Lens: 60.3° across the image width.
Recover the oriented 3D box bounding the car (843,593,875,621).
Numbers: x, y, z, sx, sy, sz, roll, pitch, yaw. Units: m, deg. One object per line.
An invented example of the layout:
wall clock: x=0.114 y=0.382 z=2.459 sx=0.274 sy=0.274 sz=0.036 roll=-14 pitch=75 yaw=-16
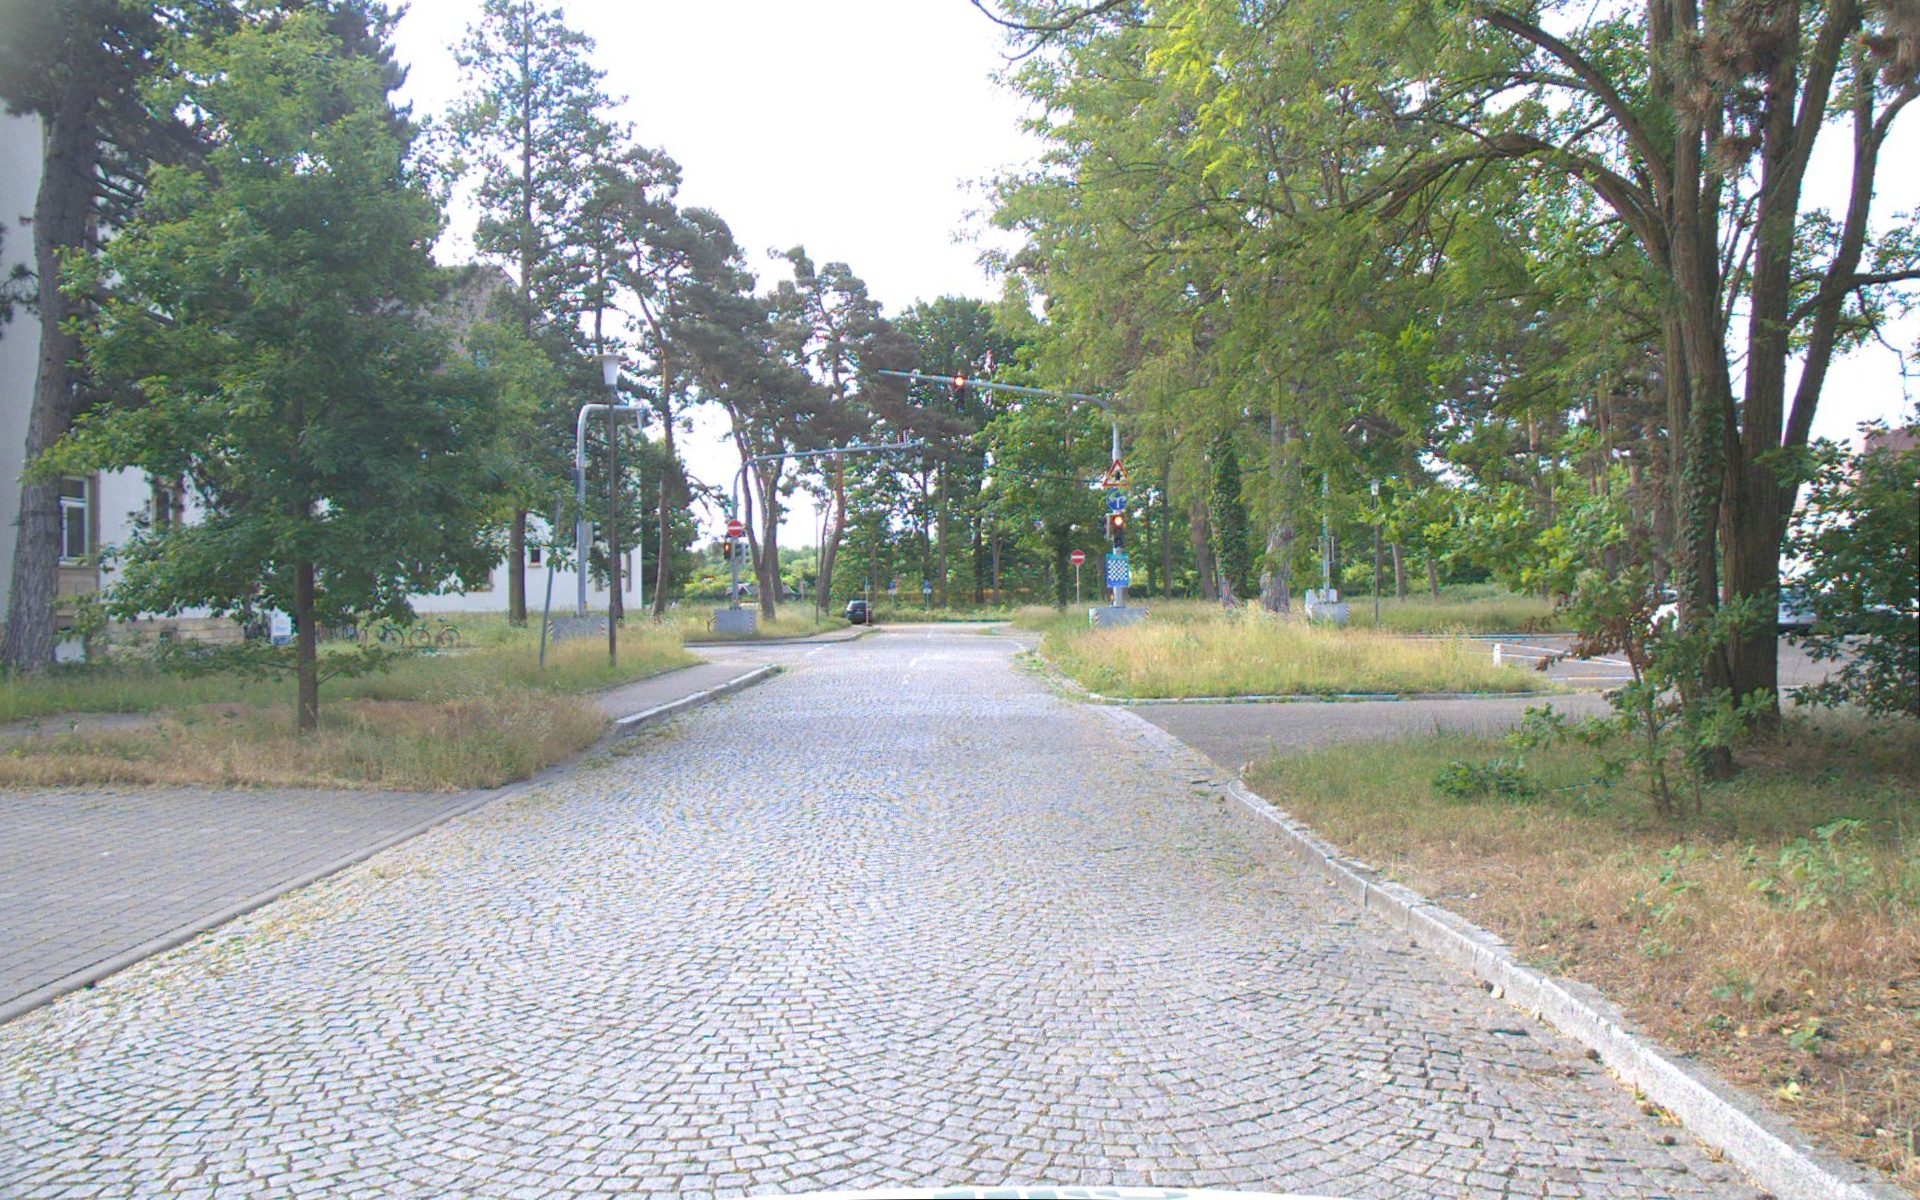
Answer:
car: x=-6.765 y=0.458 z=111.118 sx=2.014 sy=1.878 sz=3.999 roll=-1 pitch=0 yaw=-2

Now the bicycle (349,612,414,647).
bicycle: x=-18.735 y=0.953 z=53.557 sx=1.818 sy=1.095 sz=0.738 roll=-1 pitch=0 yaw=1

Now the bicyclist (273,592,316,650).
bicyclist: x=-20.357 y=0.643 z=50.615 sx=0.901 sy=1.727 sz=0.957 roll=-1 pitch=-1 yaw=2

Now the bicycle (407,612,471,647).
bicycle: x=-16.884 y=0.942 z=53.625 sx=1.818 sy=1.095 sz=0.831 roll=-1 pitch=0 yaw=1

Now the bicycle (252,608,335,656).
bicycle: x=-20.387 y=0.961 z=50.615 sx=2.133 sy=1.411 sz=0.939 roll=-1 pitch=0 yaw=2

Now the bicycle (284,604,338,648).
bicycle: x=-21.574 y=0.851 z=55.038 sx=0.721 sy=1.410 sz=2.711 roll=-1 pitch=0 yaw=0

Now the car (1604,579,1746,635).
car: x=20.674 y=0.245 z=48.022 sx=1.954 sy=1.507 sz=4.421 roll=-1 pitch=-1 yaw=-4

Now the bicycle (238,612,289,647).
bicycle: x=-22.988 y=0.975 z=54.631 sx=0.721 sy=1.095 sz=2.273 roll=-1 pitch=0 yaw=0

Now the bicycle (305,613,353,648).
bicycle: x=-20.839 y=0.993 z=54.694 sx=0.721 sy=1.095 sz=2.273 roll=-1 pitch=0 yaw=0

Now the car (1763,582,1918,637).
car: x=25.751 y=0.315 z=48.575 sx=1.954 sy=1.507 sz=4.421 roll=-1 pitch=-1 yaw=-4

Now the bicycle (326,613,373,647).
bicycle: x=-20.210 y=0.980 z=54.784 sx=0.721 sy=1.095 sz=2.273 roll=-1 pitch=0 yaw=0

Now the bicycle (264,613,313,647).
bicycle: x=-22.361 y=0.994 z=55.135 sx=0.721 sy=1.095 sz=2.273 roll=-1 pitch=0 yaw=0

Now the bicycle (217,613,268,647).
bicycle: x=-23.708 y=0.980 z=54.692 sx=0.721 sy=1.095 sz=2.273 roll=-1 pitch=0 yaw=0
